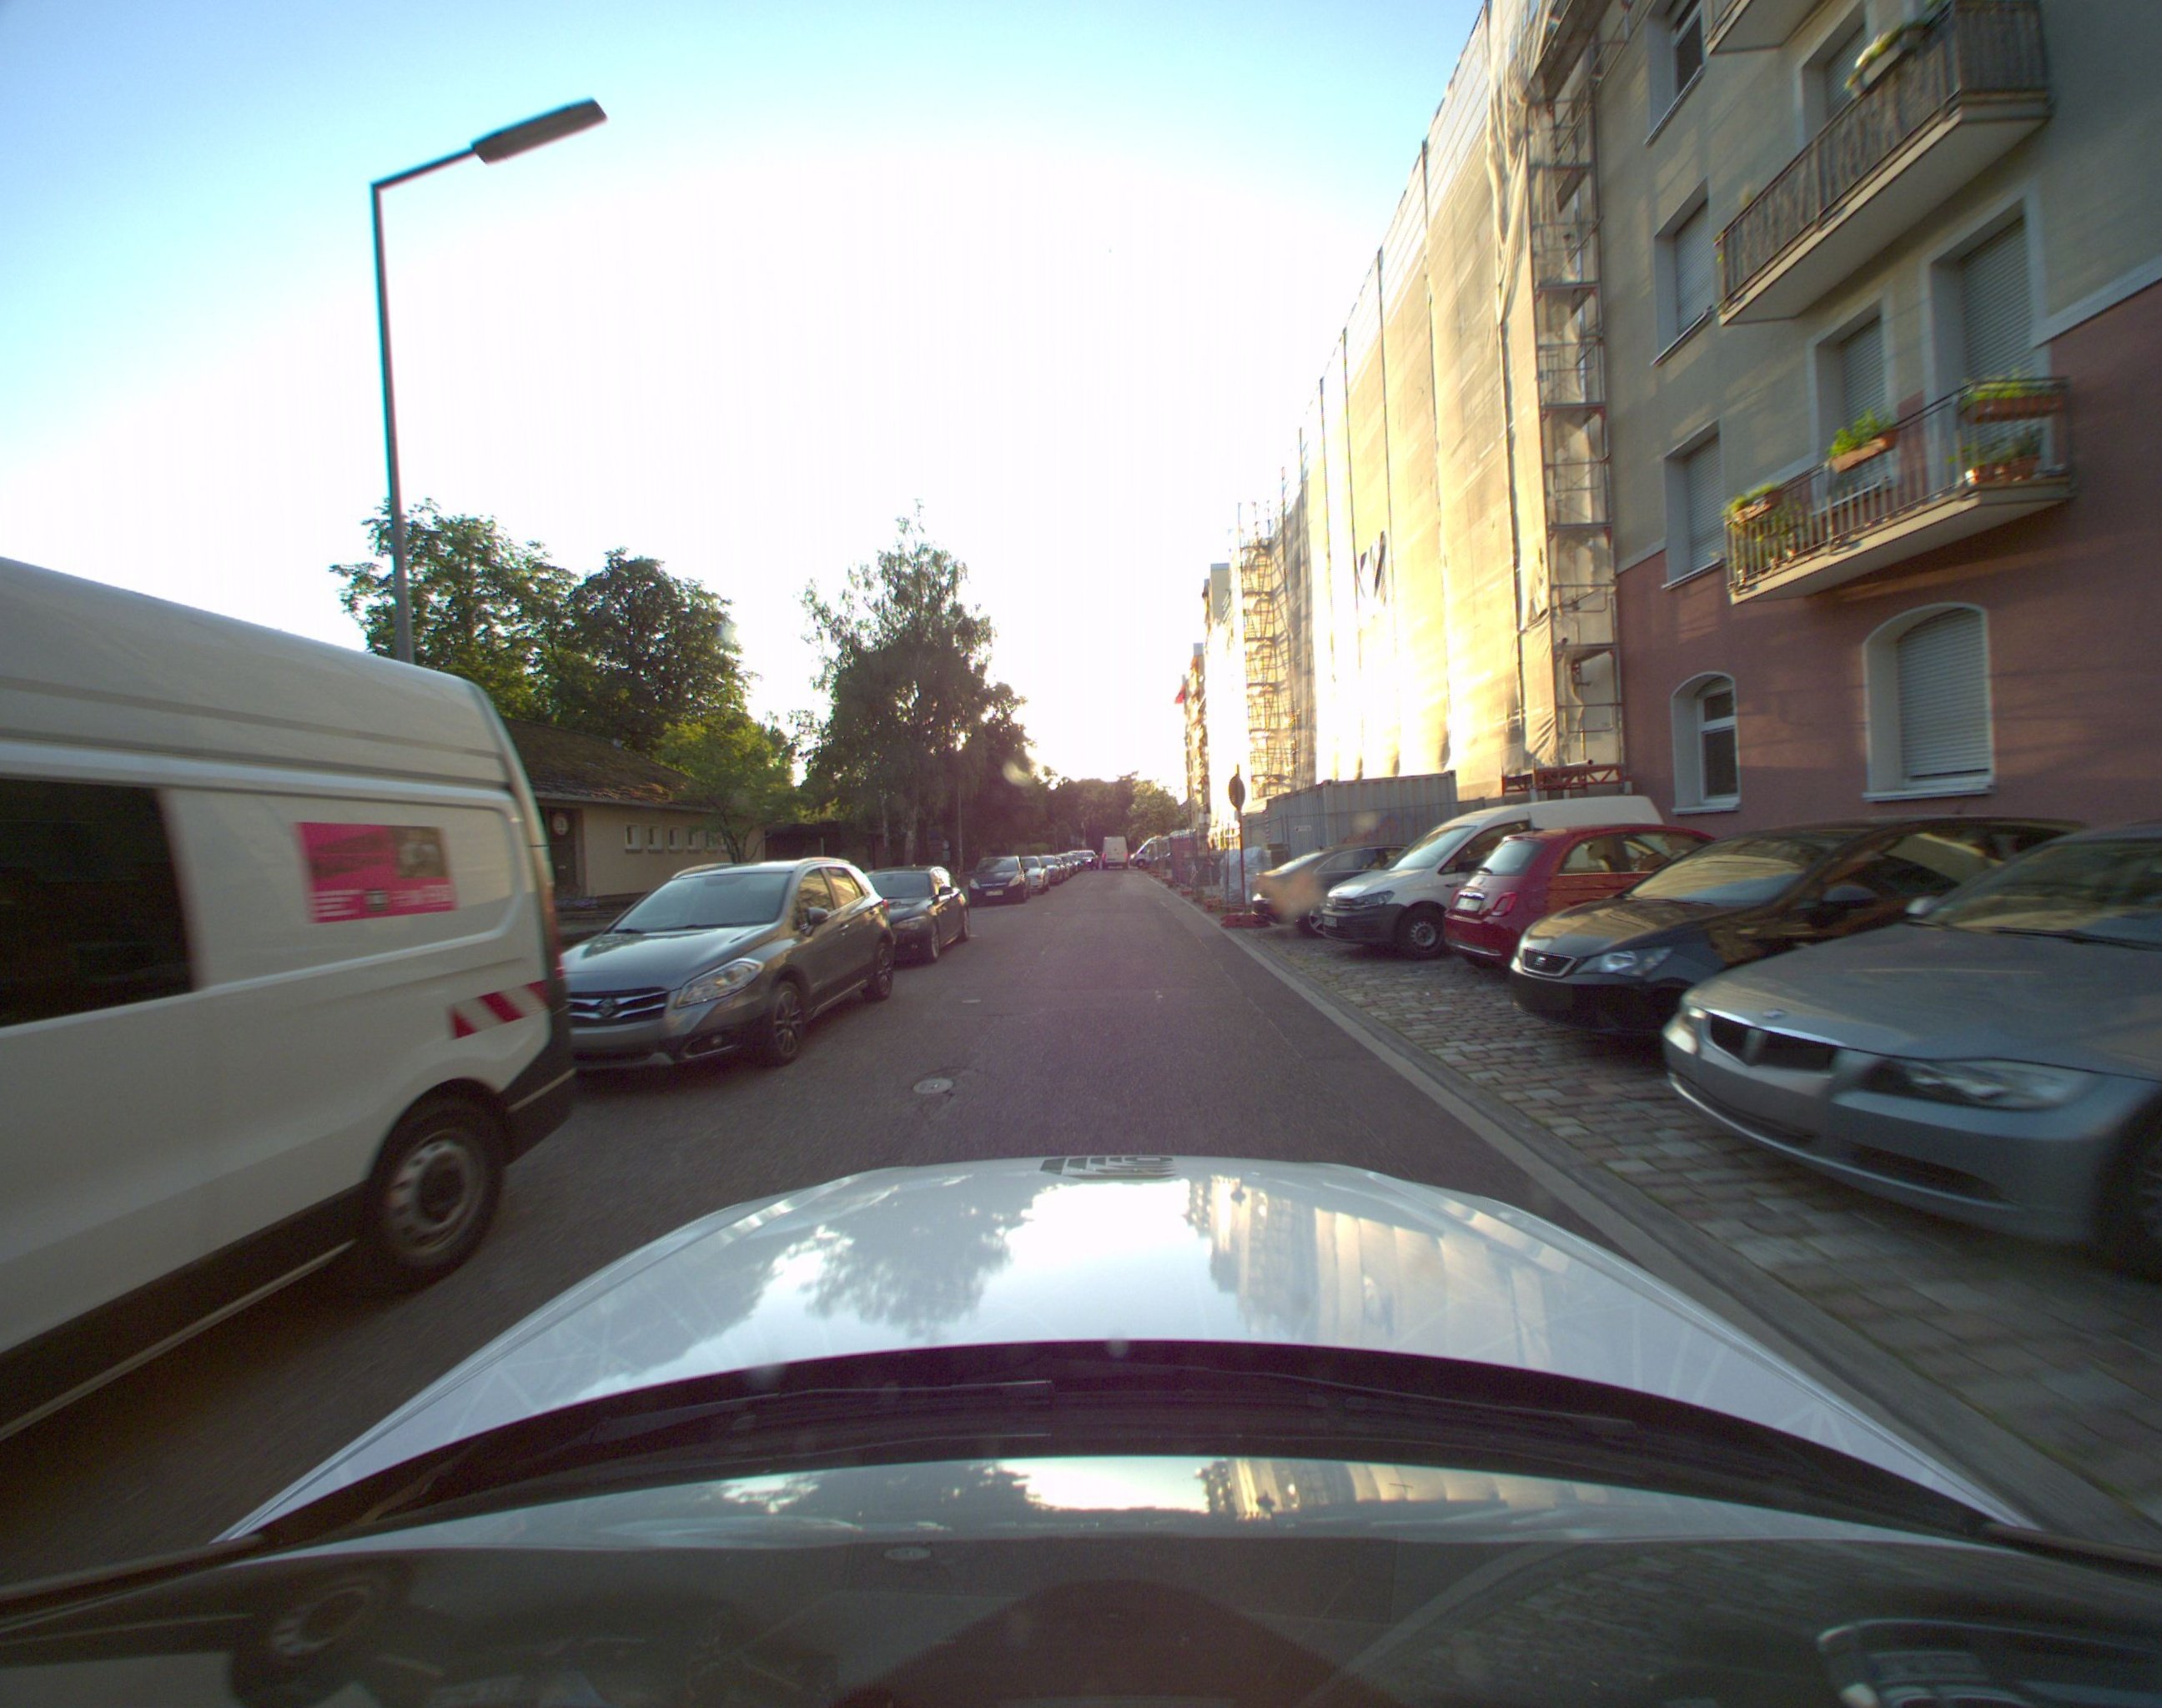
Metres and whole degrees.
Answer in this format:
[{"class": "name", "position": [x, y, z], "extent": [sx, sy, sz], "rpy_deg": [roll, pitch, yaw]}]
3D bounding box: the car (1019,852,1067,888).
[{"class": "car", "position": [-1.791, 0.724, 39.728], "extent": [1.853, 1.538, 4.760], "rpy_deg": [-3, 0, 2]}]

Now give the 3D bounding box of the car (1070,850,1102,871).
[{"class": "car", "position": [0.445, 0.511, 67.092], "extent": [1.793, 1.569, 4.577], "rpy_deg": [-3, 0, 10]}]

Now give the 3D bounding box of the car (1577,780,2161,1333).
[{"class": "car", "position": [4.678, 0.535, 3.455], "extent": [3.975, 1.637, 1.902], "rpy_deg": [-2, 0, -1]}]

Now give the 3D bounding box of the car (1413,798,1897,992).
[{"class": "car", "position": [5.587, 0.370, 8.289], "extent": [3.680, 1.610, 1.745], "rpy_deg": [-2, 0, -1]}]

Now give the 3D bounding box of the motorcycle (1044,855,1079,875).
[{"class": "motorcycle", "position": [-1.285, 0.730, 53.989], "extent": [2.147, 1.303, 0.884], "rpy_deg": [-1, 0, 16]}]

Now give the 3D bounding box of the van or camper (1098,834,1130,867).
[{"class": "van or camper", "position": [2.742, -0.271, 66.997], "extent": [2.444, 2.547, 6.087], "rpy_deg": [0, 0, 2]}]

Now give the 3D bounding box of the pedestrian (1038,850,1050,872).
[{"class": "pedestrian", "position": [-3.113, 0.581, 68.310], "extent": [0.934, 1.830, 0.787], "rpy_deg": [-1, 0, 1]}]

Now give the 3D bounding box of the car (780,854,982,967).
[{"class": "car", "position": [-2.968, 0.767, 13.167], "extent": [1.985, 1.453, 4.291], "rpy_deg": [-2, 0, 3]}]

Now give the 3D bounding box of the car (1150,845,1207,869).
[{"class": "car", "position": [7.398, 0.211, 62.195], "extent": [3.977, 1.515, 2.018], "rpy_deg": [-5, 0, -3]}]

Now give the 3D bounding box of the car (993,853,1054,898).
[{"class": "car", "position": [-2.109, 0.751, 31.171], "extent": [1.776, 1.445, 4.750], "rpy_deg": [-5, 0, 2]}]

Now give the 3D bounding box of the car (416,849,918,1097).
[{"class": "car", "position": [-3.124, 0.750, 7.572], "extent": [1.985, 1.519, 4.792], "rpy_deg": [-2, 0, 3]}]

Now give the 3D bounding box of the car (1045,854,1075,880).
[{"class": "car", "position": [-1.277, 0.757, 50.771], "extent": [1.595, 1.431, 3.804], "rpy_deg": [-5, 0, 1]}]

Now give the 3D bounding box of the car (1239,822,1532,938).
[{"class": "car", "position": [4.838, 0.404, 13.454], "extent": [4.135, 1.615, 1.873], "rpy_deg": [-2, 0, 3]}]

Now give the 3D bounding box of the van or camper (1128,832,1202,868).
[{"class": "van or camper", "position": [6.966, -0.329, 67.826], "extent": [5.907, 2.770, 2.110], "rpy_deg": [-1, 0, 1]}]

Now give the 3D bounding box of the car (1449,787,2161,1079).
[{"class": "car", "position": [4.972, 0.444, 5.704], "extent": [3.953, 1.571, 1.788], "rpy_deg": [-2, 0, -1]}]

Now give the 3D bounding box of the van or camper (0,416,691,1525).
[{"class": "van or camper", "position": [-3.398, 0.276, 1.675], "extent": [1.986, 2.456, 6.086], "rpy_deg": [-2, 0, 2]}]

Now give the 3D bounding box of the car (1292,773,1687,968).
[{"class": "car", "position": [5.230, 0.164, 10.736], "extent": [4.260, 1.979, 1.818], "rpy_deg": [-5, 1, -6]}]

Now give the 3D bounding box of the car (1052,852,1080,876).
[{"class": "car", "position": [-1.016, 0.672, 57.178], "extent": [1.709, 1.496, 4.361], "rpy_deg": [-4, 0, 1]}]

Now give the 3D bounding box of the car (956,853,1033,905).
[{"class": "car", "position": [-2.624, 0.729, 25.674], "extent": [1.988, 1.453, 3.999], "rpy_deg": [-2, 0, -1]}]

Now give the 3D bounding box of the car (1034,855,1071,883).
[{"class": "car", "position": [-1.532, 0.794, 45.013], "extent": [1.652, 1.313, 4.157], "rpy_deg": [-4, 0, 3]}]
